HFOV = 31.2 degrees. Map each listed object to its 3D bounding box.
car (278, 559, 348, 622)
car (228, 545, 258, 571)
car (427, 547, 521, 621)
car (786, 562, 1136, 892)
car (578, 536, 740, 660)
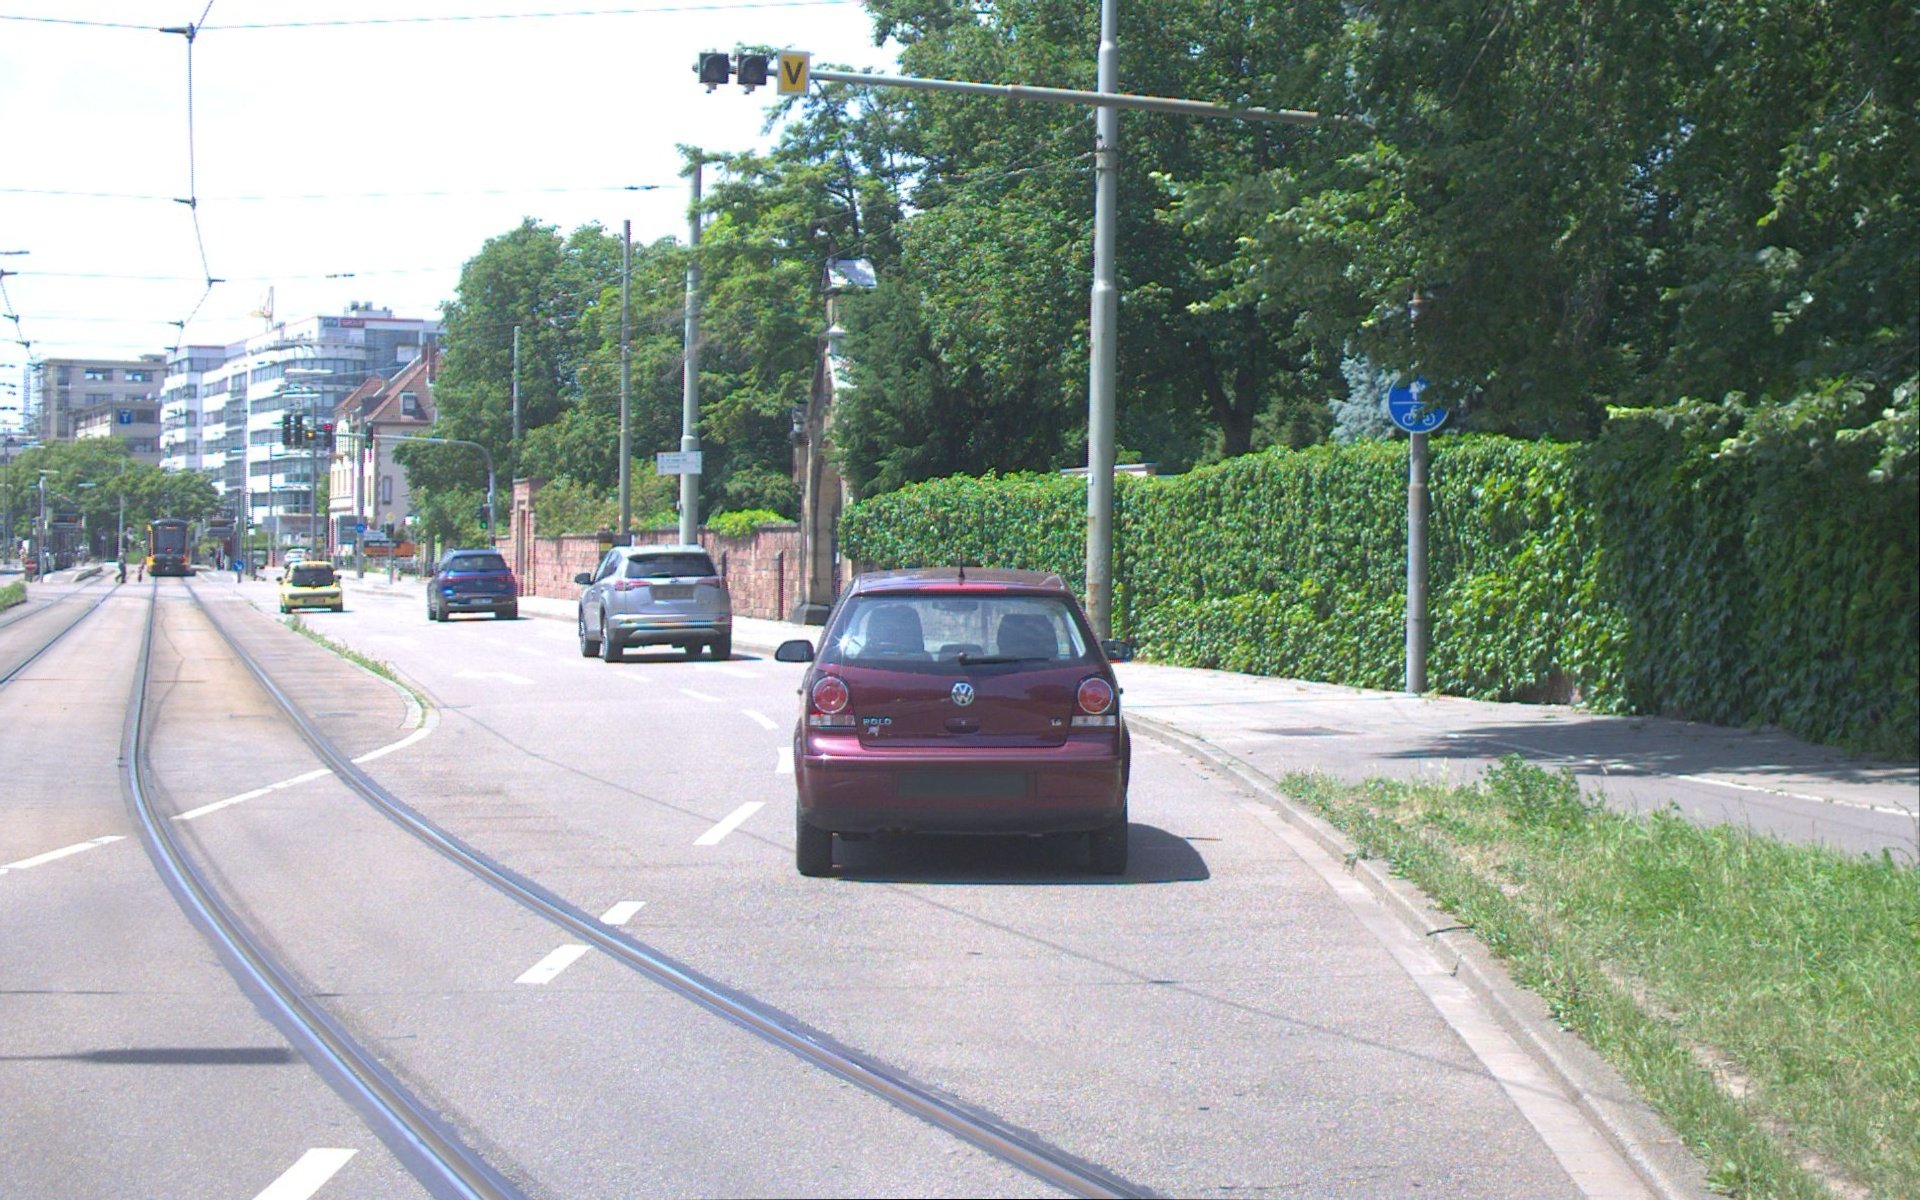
[{"bbox_3d":[-18.418,-0.284,97.741,1.794,1.677,4.001,2,1,-13],"label":"car"},{"bbox_3d":[-35.645,-2.102,170.884,1.353,1.248,2.973,2,1,-13],"label":"car"},{"bbox_3d":[-11.386,-0.392,80.346,1.773,1.625,4.001,2,1,-13],"label":"car"},{"bbox_3d":[-0.076,0.562,17.839,1.609,1.493,4.001,0,1,-2],"label":"car"},{"bbox_3d":[-4.432,-0.059,50.151,1.794,1.677,4.001,2,1,-13],"label":"car"}]
